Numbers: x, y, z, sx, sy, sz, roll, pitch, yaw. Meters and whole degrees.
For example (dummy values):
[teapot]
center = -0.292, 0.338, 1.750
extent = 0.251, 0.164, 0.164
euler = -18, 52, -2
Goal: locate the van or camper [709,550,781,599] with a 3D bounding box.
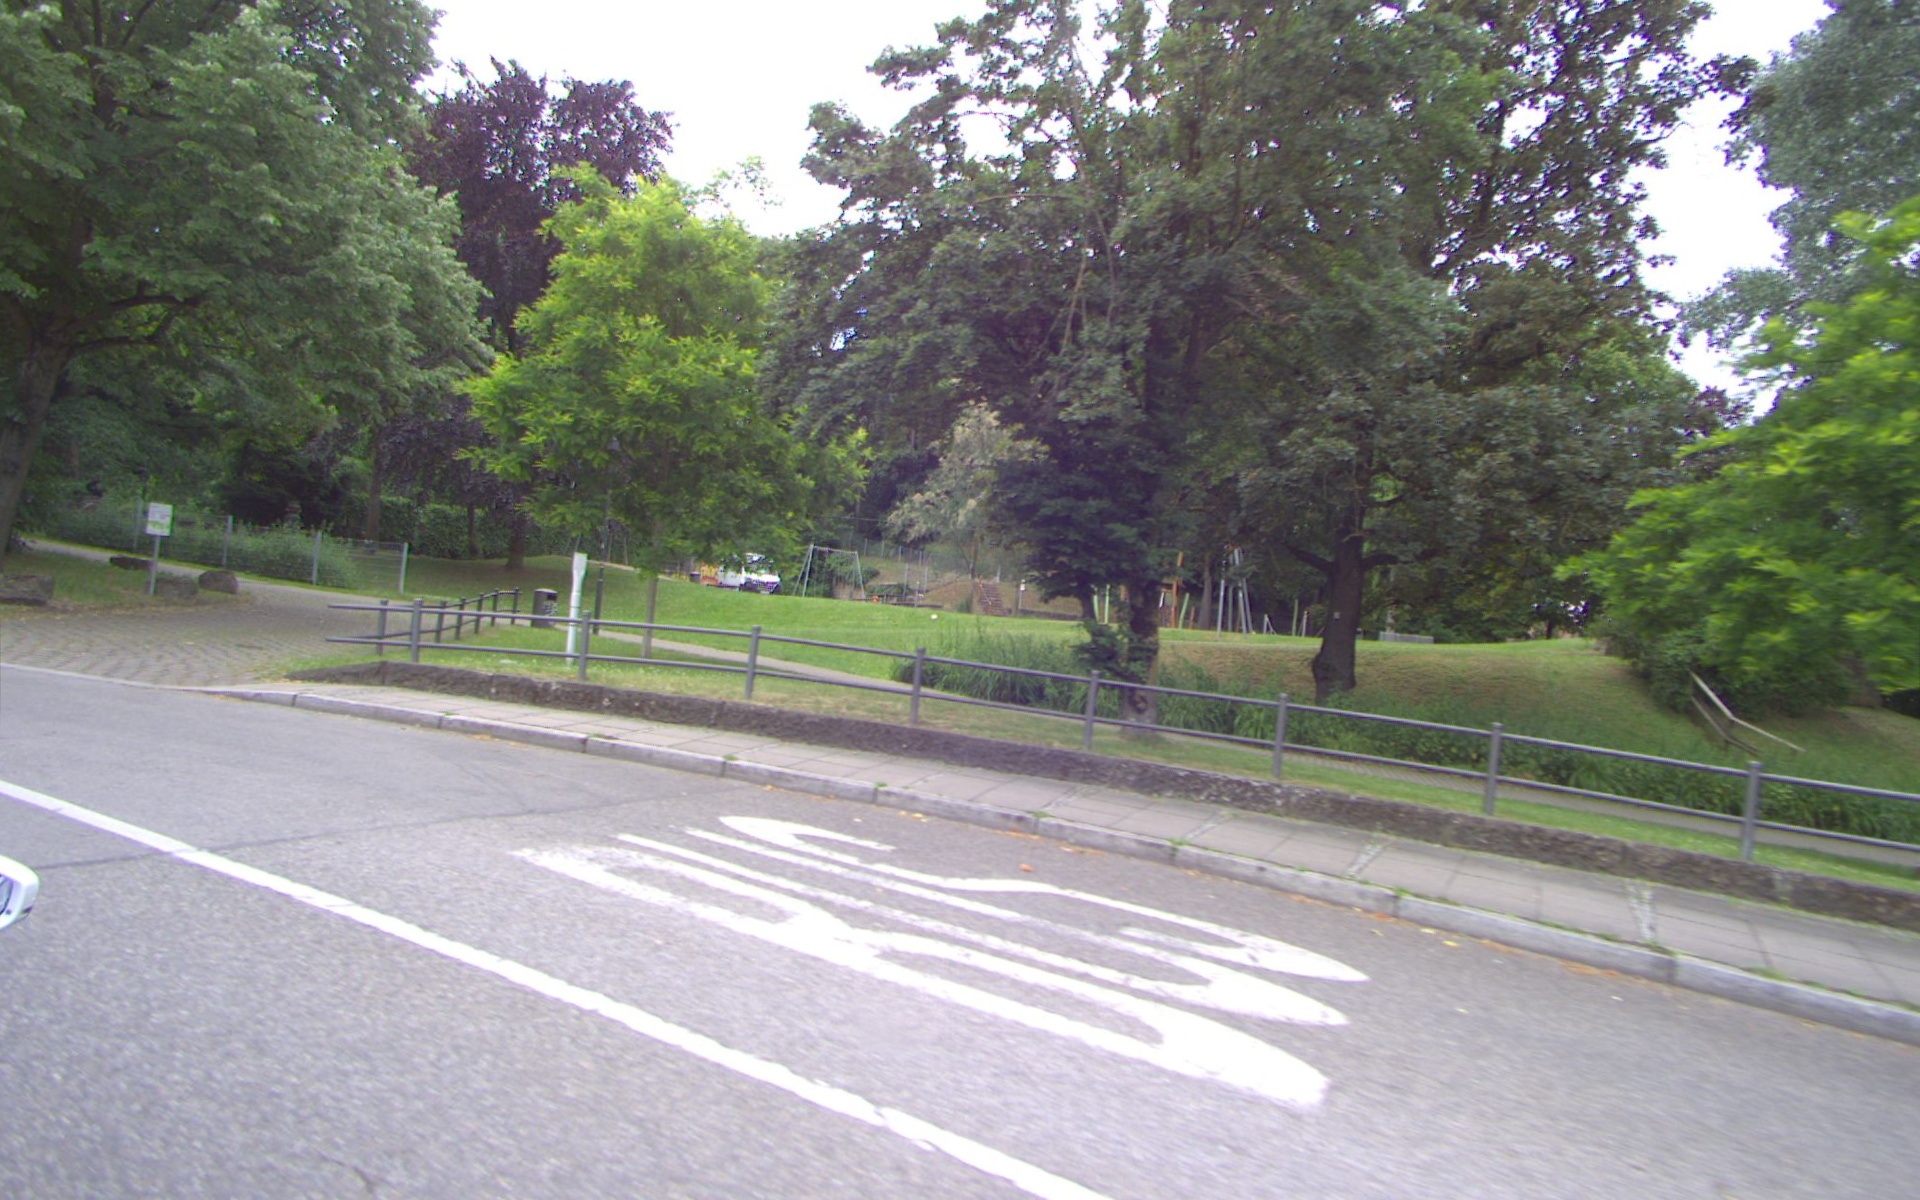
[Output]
[van or camper]
center = -11.380, -1.395, 52.930
extent = 2.283, 2.038, 5.404
euler = 8, 0, -26
